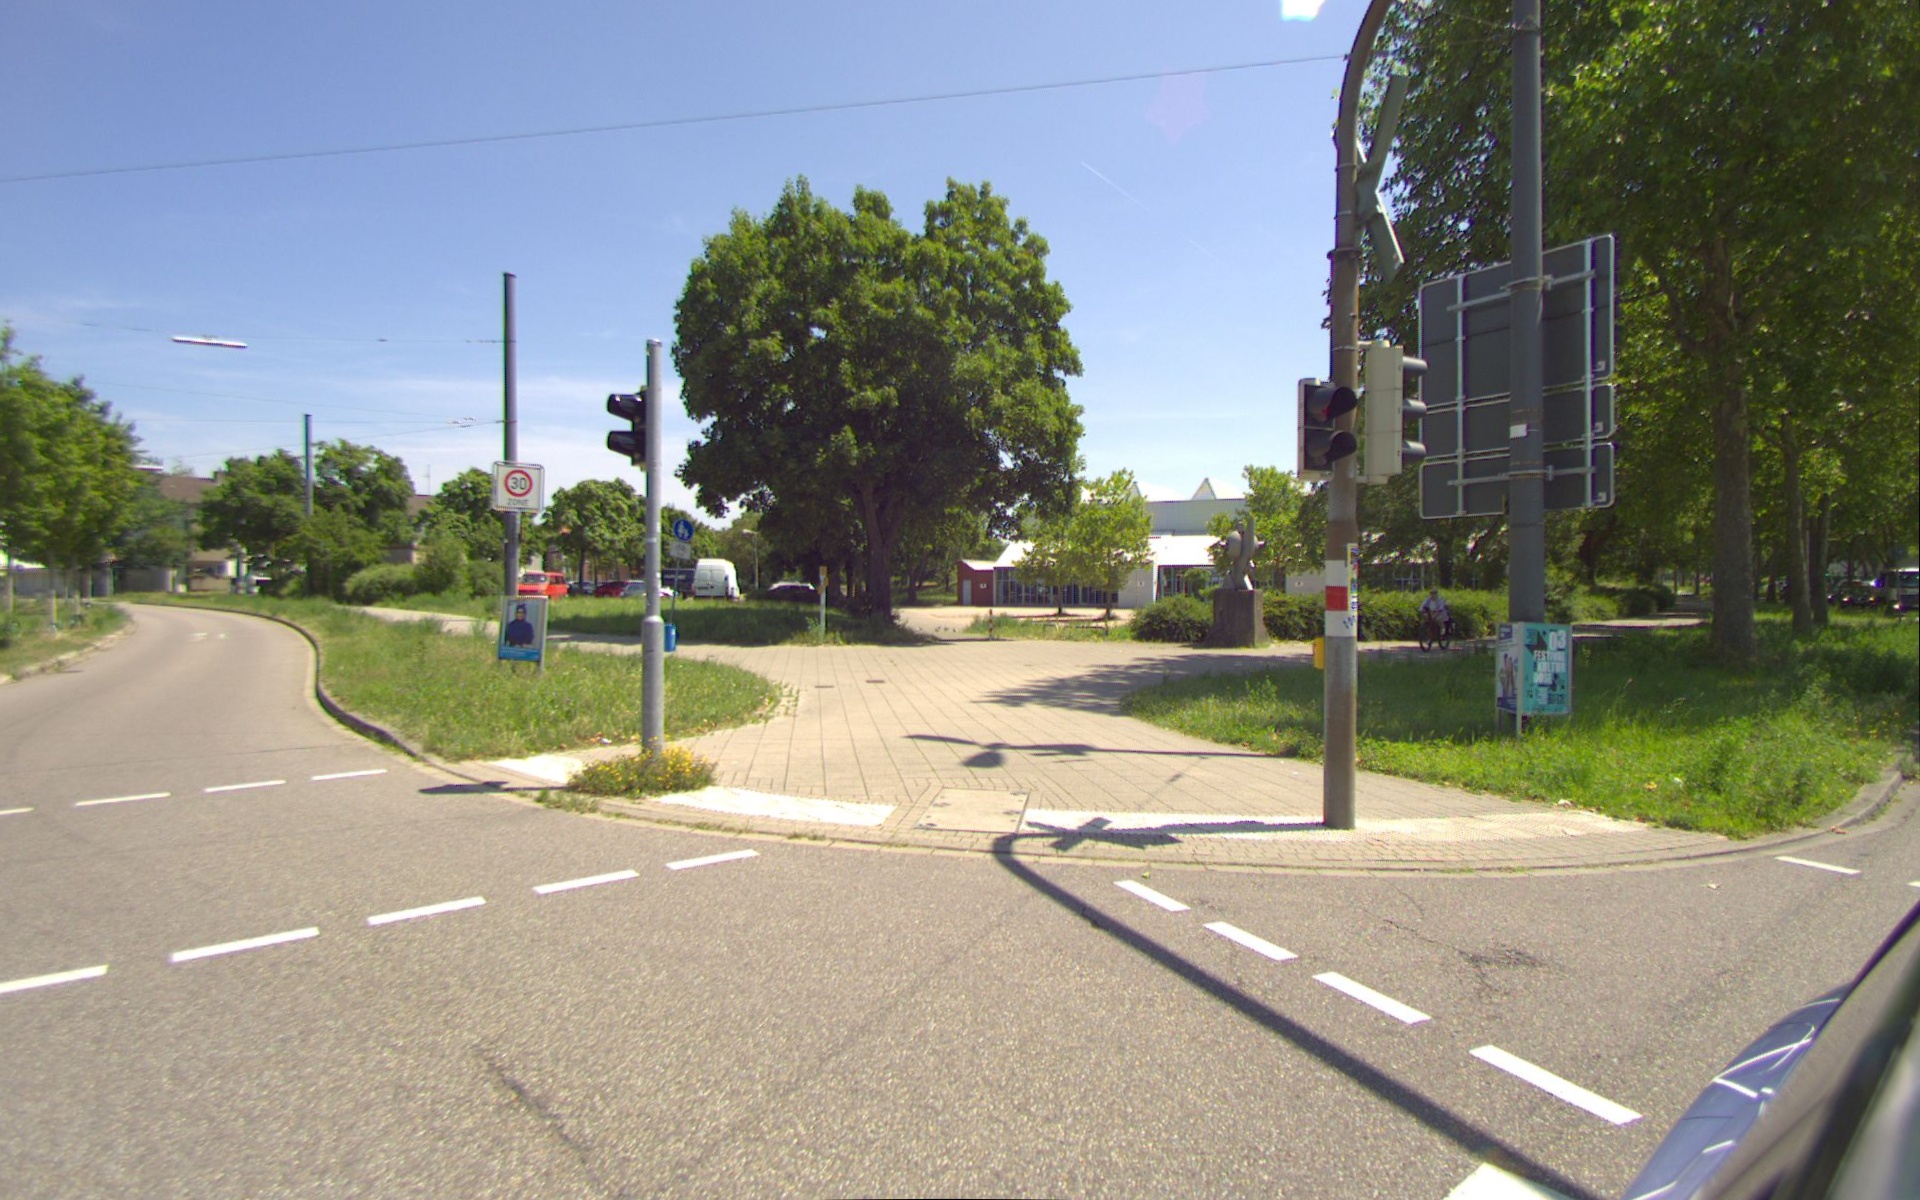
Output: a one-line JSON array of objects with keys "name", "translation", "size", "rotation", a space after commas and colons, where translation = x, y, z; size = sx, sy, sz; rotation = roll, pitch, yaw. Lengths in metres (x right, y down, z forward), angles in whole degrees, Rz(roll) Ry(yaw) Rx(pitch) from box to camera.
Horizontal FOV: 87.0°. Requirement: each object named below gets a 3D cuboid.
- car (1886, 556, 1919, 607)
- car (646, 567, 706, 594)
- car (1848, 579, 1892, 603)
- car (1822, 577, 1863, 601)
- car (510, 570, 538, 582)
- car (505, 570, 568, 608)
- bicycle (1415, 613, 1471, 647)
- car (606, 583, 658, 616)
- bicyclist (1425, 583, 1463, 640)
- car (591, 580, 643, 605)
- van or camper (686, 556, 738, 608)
[{"name": "car", "translation": [52.421, -1.017, 55.094], "size": [2.909, 2.687, 6.269], "rotation": [0, 1, 42]}, {"name": "car", "translation": [-22.308, -1.542, 79.599], "size": [4.331, 2.039, 2.251], "rotation": [0, 1, -10]}, {"name": "car", "translation": [63.239, -0.633, 70.377], "size": [1.989, 1.638, 3.946], "rotation": [0, 1, 37]}, {"name": "car", "translation": [70.204, -0.892, 80.557], "size": [1.987, 1.861, 3.950], "rotation": [0, 1, 35]}, {"name": "car", "translation": [-58.607, -3.203, 136.073], "size": [1.430, 1.638, 3.333], "rotation": [0, 1, 30]}, {"name": "car", "translation": [-23.526, -0.626, 56.357], "size": [2.032, 2.028, 4.669], "rotation": [0, 1, -7]}, {"name": "bicycle", "translation": [11.789, 0.716, 24.673], "size": [1.636, 0.774, 0.465], "rotation": [-1, 1, -34]}, {"name": "car", "translation": [-17.832, -0.077, 55.151], "size": [1.917, 1.739, 4.076], "rotation": [0, 1, -6]}, {"name": "bicyclist", "translation": [11.812, 0.272, 24.693], "size": [0.653, 1.355, 0.601], "rotation": [-1, 1, -34]}, {"name": "car", "translation": [-22.769, -0.516, 67.228], "size": [3.018, 1.624, 1.516], "rotation": [0, 1, -6]}, {"name": "van or camper", "translation": [-14.005, -1.034, 57.488], "size": [2.159, 2.785, 5.136], "rotation": [0, 1, -5]}]
